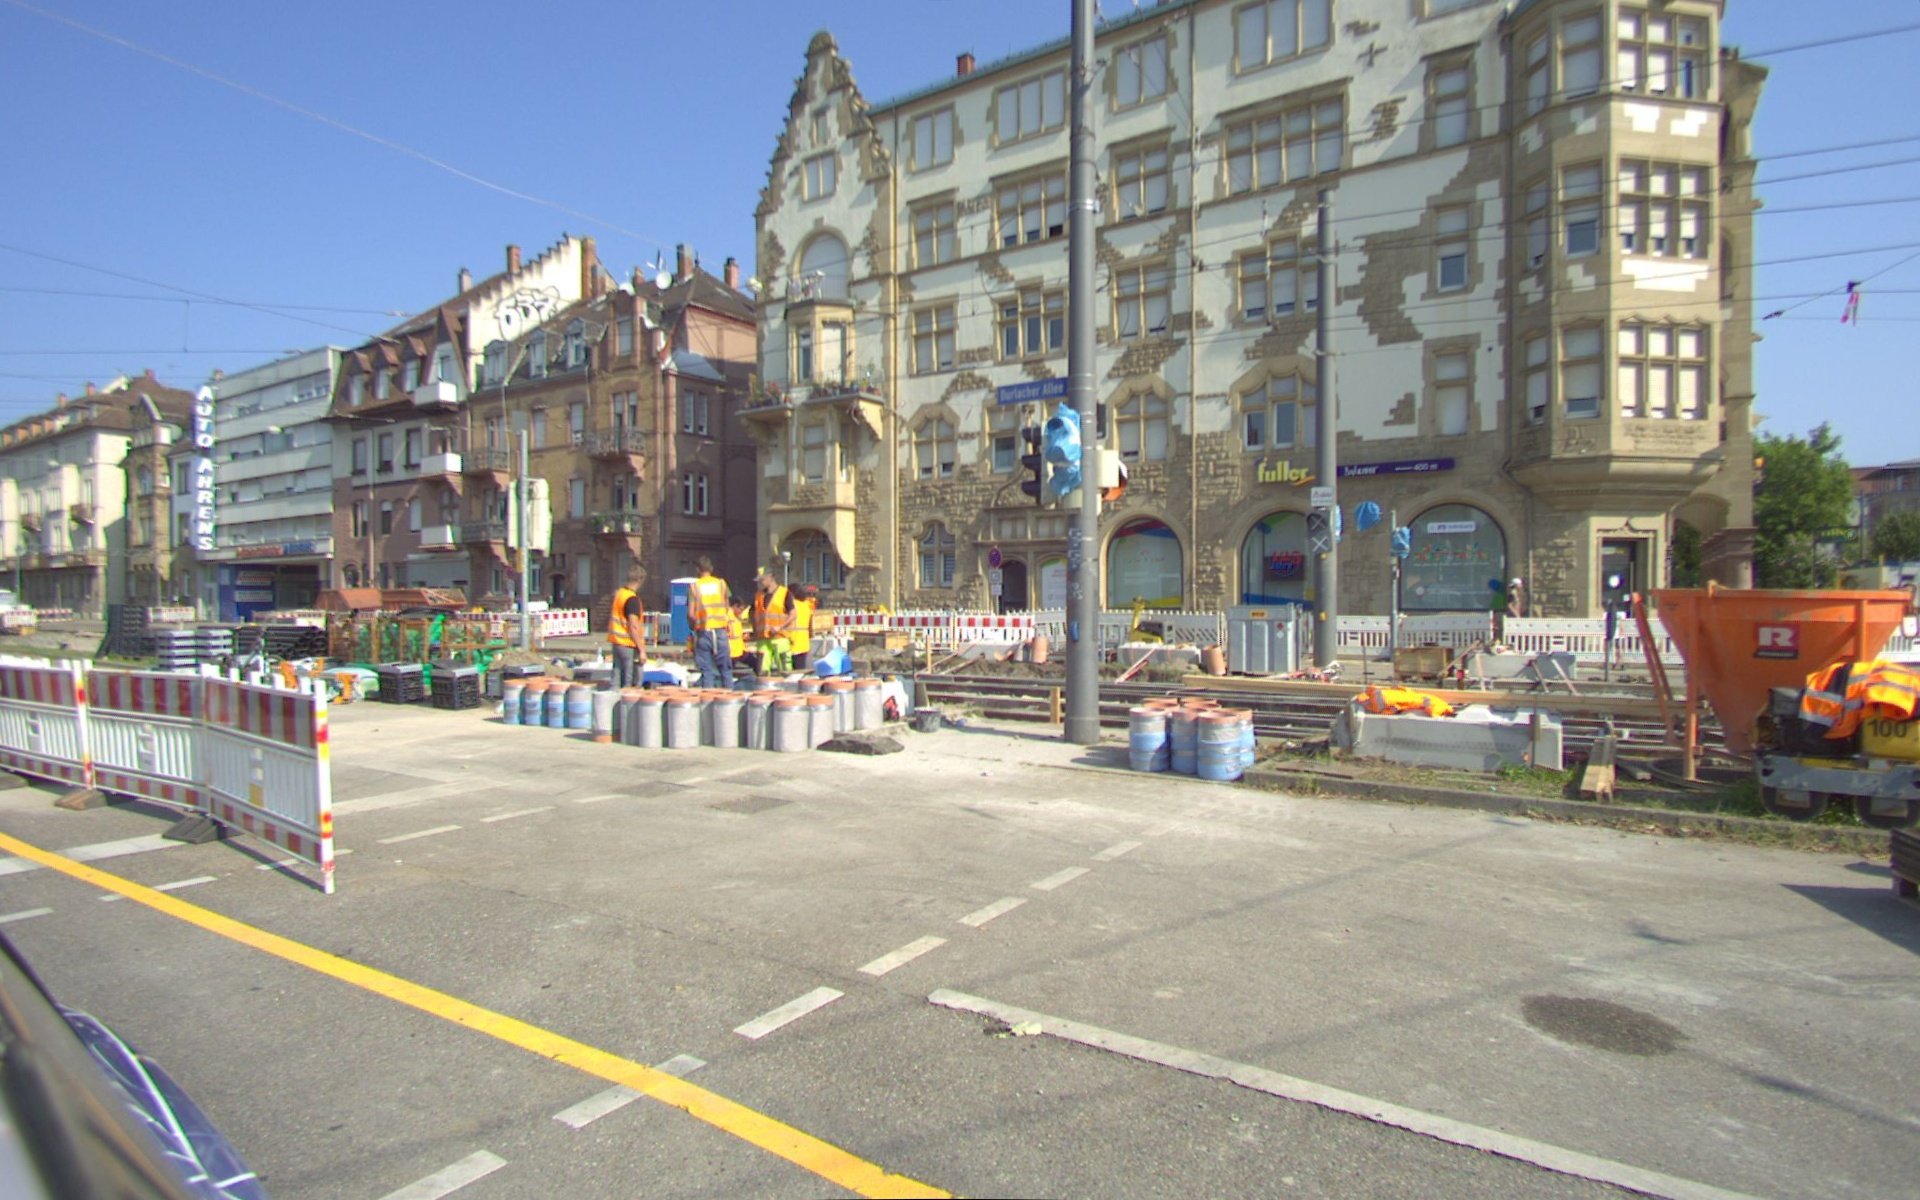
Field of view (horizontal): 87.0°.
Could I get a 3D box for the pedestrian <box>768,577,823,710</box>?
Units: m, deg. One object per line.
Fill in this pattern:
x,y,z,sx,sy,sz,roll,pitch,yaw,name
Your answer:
-2.344,0.601,14.364,0.742,1.823,0.832,0,-1,-11,pedestrian

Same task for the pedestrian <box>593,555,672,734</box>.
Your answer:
-3.666,0.484,11.367,0.675,1.941,0.715,0,-1,-3,pedestrian

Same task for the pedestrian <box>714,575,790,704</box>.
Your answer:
-3.088,0.568,15.002,0.816,1.830,0.887,1,-1,-35,pedestrian

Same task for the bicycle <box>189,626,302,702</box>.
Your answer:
-11.351,0.992,16.068,1.956,1.107,0.559,0,1,25,bicycle

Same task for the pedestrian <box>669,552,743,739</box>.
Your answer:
-2.823,0.496,11.311,0.664,2.030,0.697,0,-1,-3,pedestrian

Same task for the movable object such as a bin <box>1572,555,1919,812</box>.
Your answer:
6.164,0.511,6.928,3.279,1.570,1.586,0,0,36,movable object such as a bin

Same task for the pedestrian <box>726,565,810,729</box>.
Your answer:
-2.310,0.547,12.180,0.708,1.885,0.711,0,-1,42,pedestrian

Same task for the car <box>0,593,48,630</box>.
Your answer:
-57.523,0.675,60.894,7.103,2.151,2.341,0,0,34,car

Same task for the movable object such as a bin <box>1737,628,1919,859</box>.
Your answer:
5.736,0.791,5.624,2.208,1.220,0.879,0,0,36,movable object such as a bin
